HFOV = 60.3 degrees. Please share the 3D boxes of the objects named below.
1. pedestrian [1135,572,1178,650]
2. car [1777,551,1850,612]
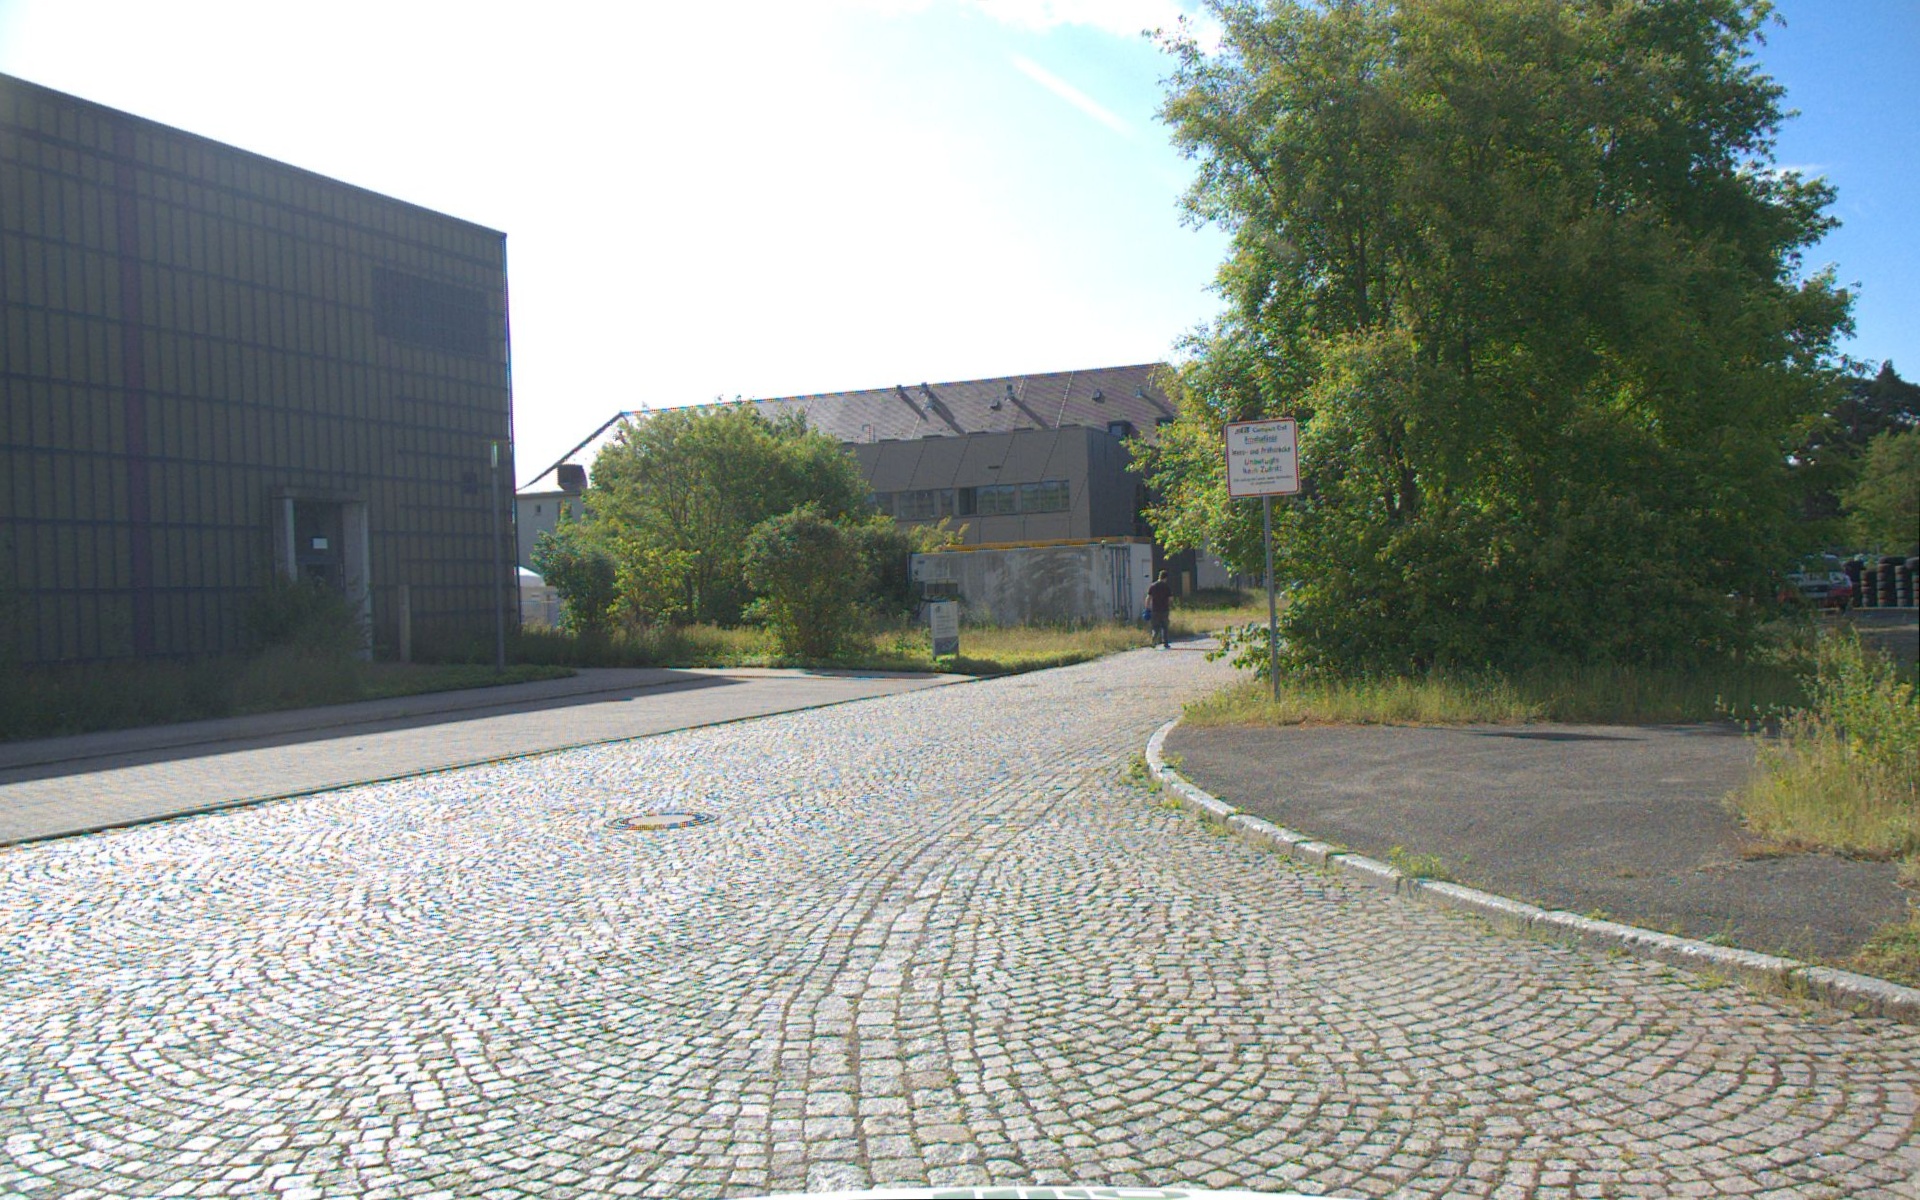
[{"bbox_3d":[4.669,0.252,39.179,0.778,1.812,1.069,-1,0,19],"label":"pedestrian"},{"bbox_3d":[21.620,-0.487,41.969,1.510,1.431,3.574,-2,0,26],"label":"car"}]
